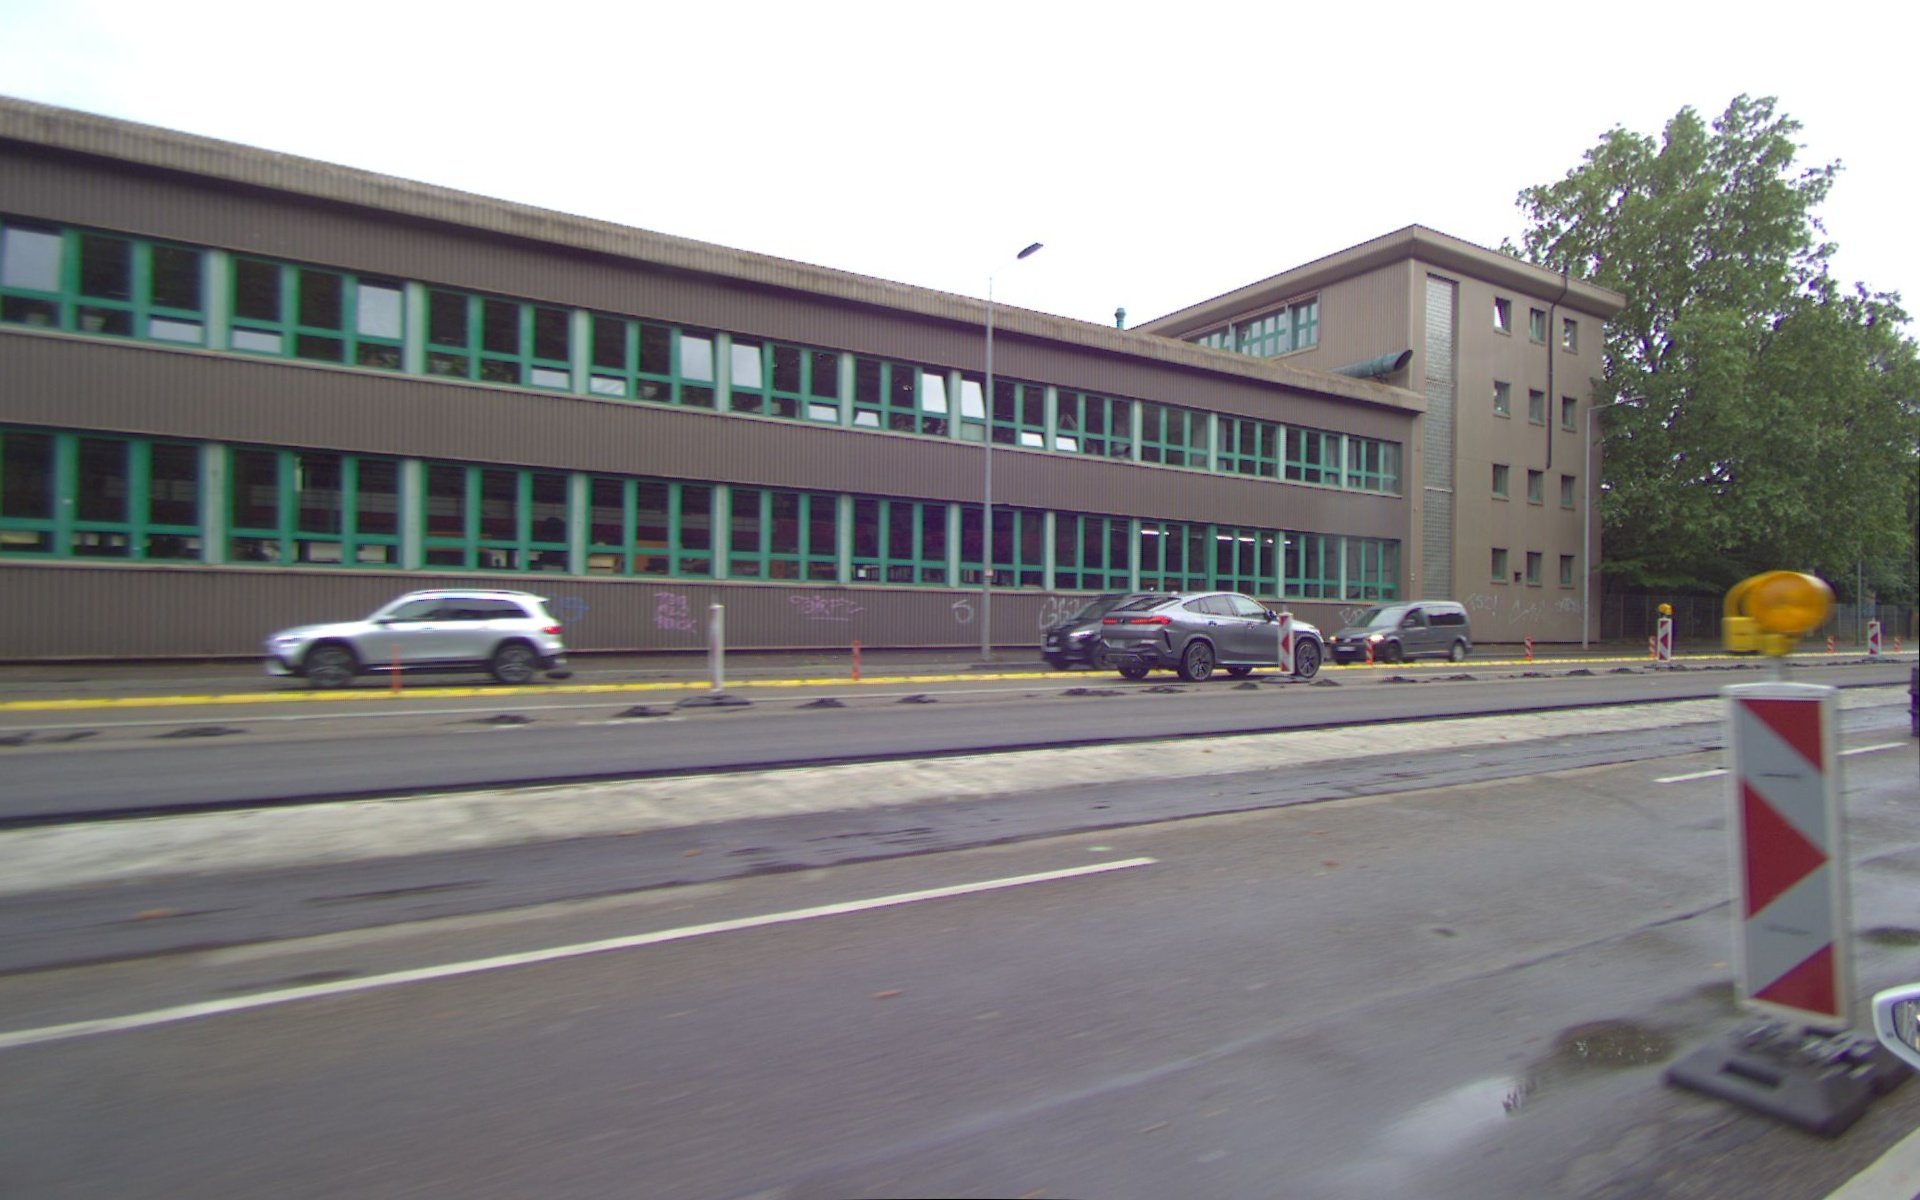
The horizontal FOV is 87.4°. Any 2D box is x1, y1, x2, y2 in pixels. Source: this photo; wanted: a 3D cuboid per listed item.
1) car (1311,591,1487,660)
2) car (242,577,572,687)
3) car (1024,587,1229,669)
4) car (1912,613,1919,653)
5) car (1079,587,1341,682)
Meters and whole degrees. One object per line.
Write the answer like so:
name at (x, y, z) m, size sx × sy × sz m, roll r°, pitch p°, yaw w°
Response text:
car at (12.391, 0.729, 28.277) m, size 4.894 × 1.804 × 1.985 m, roll 2°, pitch 0°, yaw -29°
car at (-9.662, 0.551, 17.861) m, size 4.881 × 1.729 × 1.927 m, roll 2°, pitch 0°, yaw -32°
car at (4.418, 0.724, 26.271) m, size 5.305 × 1.944 × 1.982 m, roll 2°, pitch 0°, yaw -32°
car at (42.615, 1.462, 42.900) m, size 3.955 × 1.670 × 1.845 m, roll 2°, pitch 0°, yaw -31°
car at (4.965, 0.654, 19.721) m, size 5.000 × 1.635 × 2.065 m, roll 2°, pitch 0°, yaw -32°
